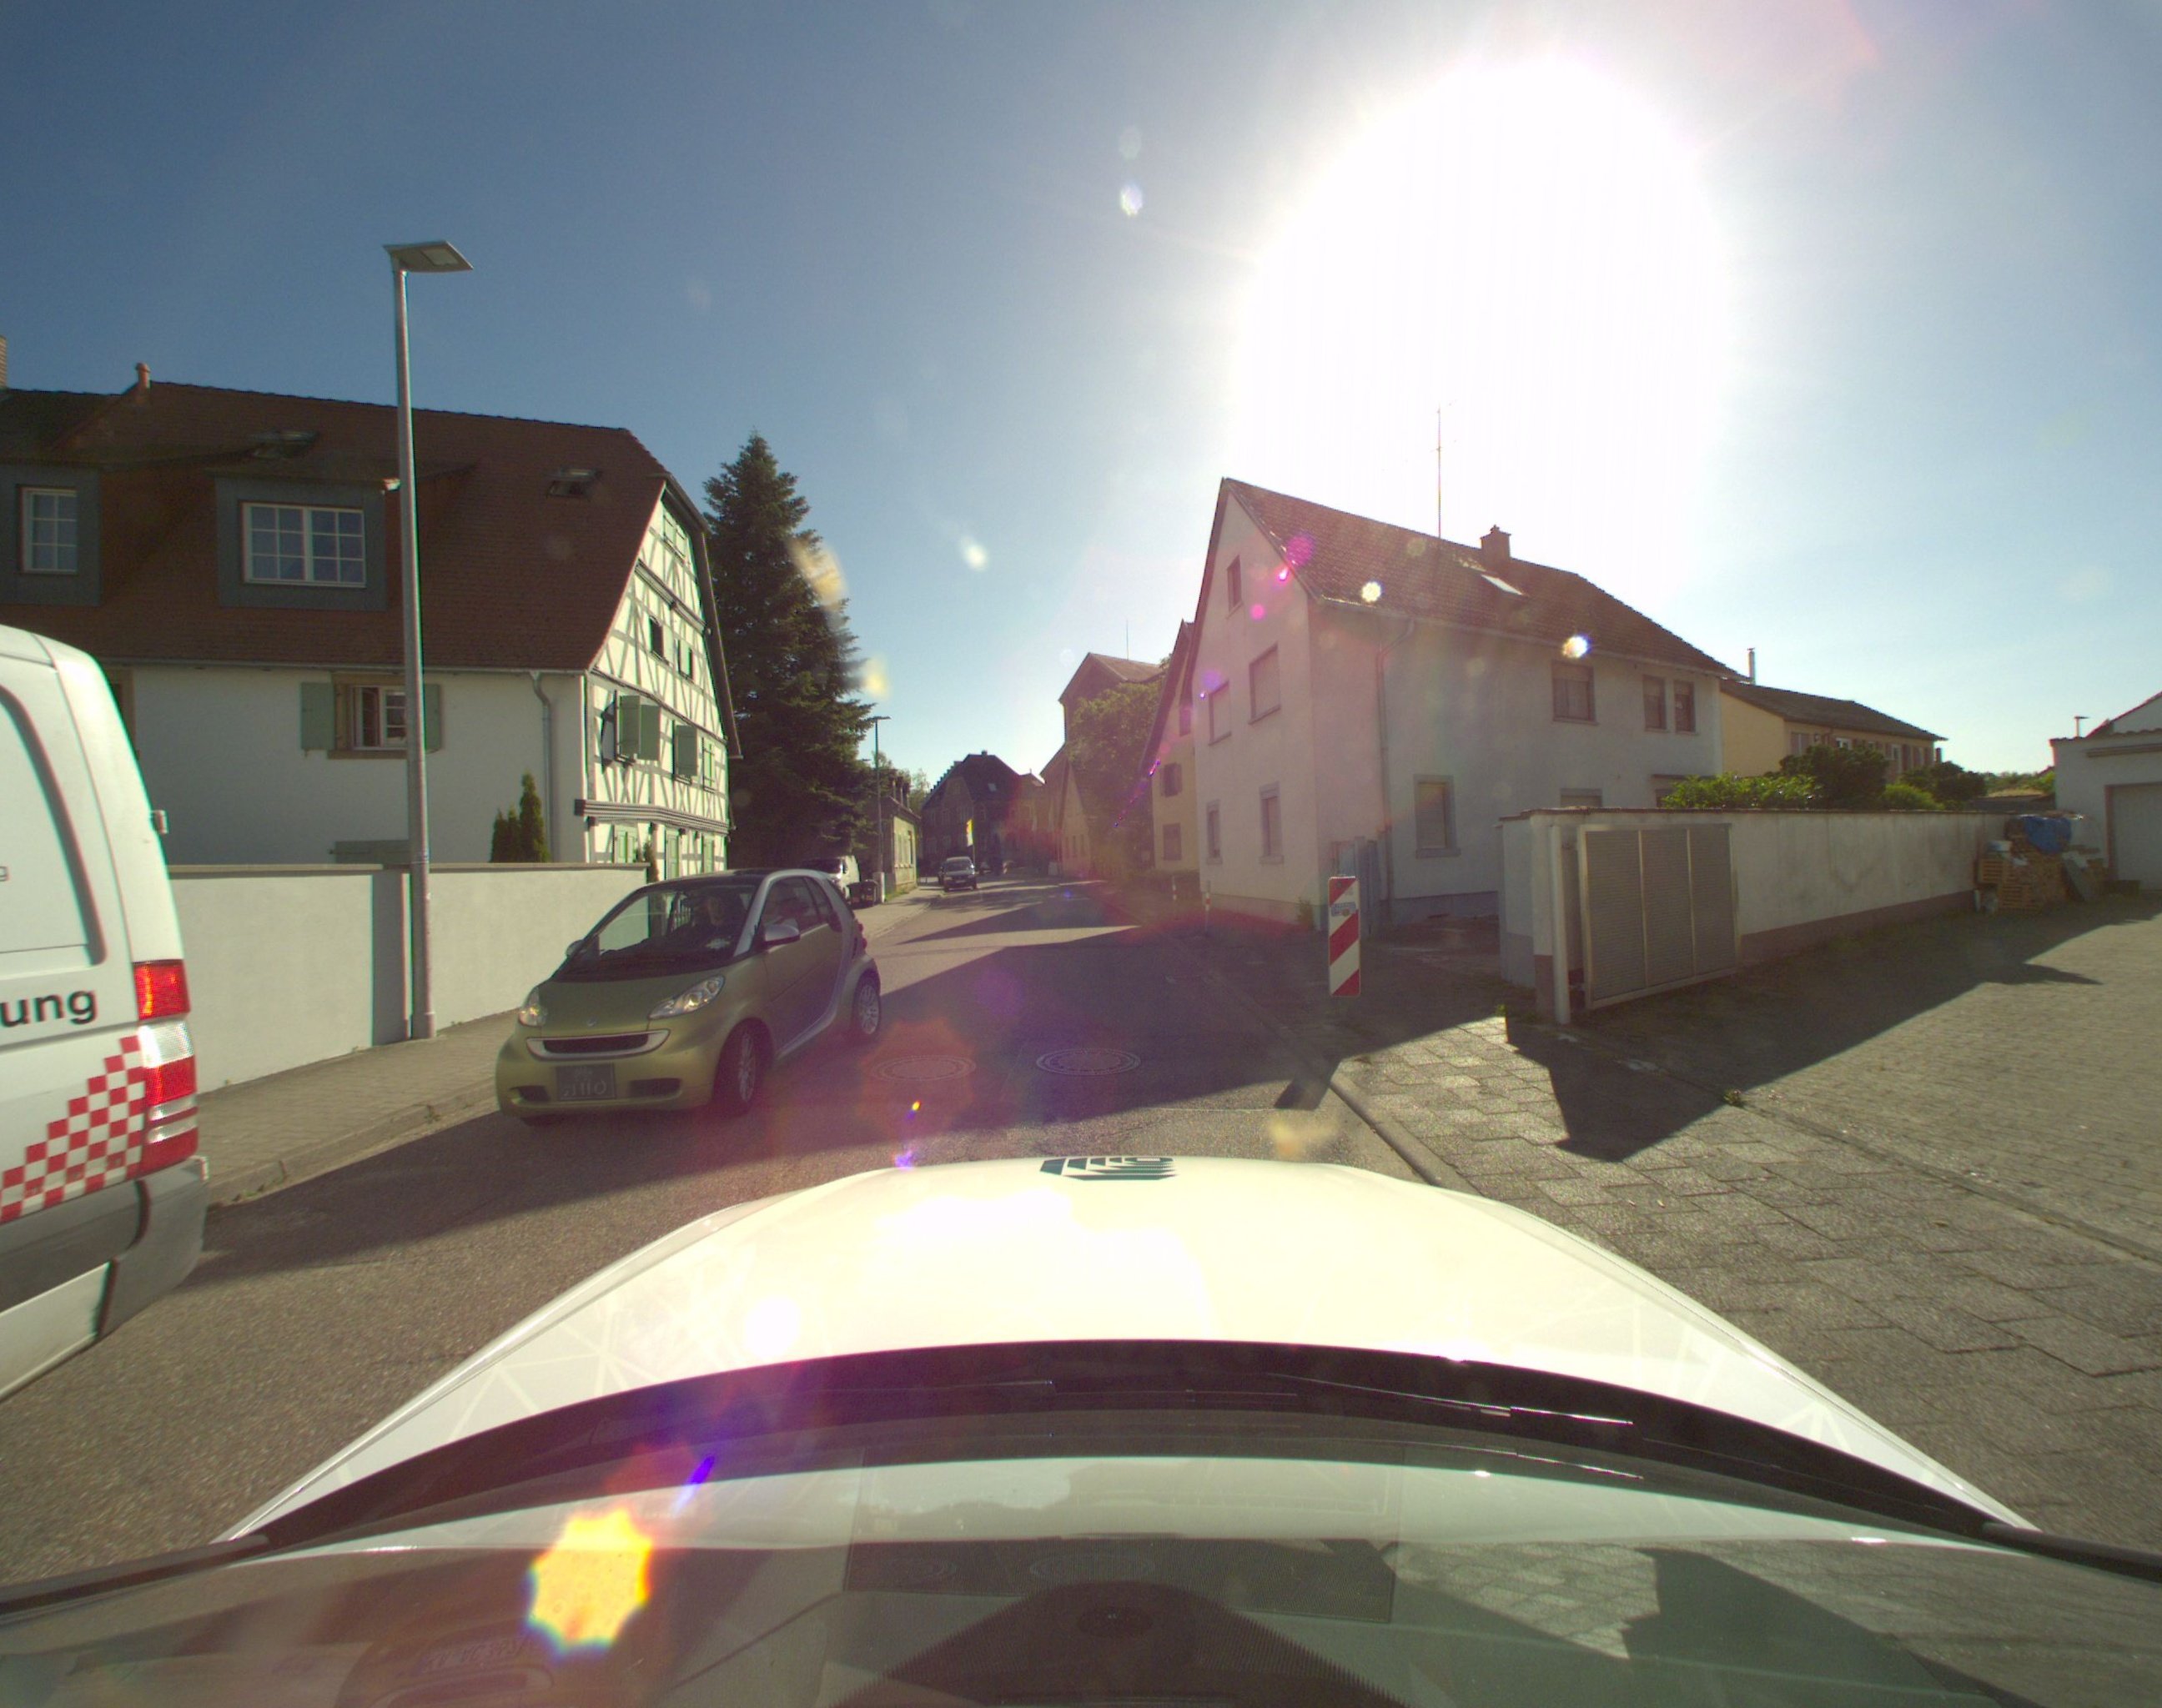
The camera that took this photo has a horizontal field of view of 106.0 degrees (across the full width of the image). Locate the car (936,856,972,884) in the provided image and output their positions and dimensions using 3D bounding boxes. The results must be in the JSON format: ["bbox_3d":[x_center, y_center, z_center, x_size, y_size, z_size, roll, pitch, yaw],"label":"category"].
[{"bbox_3d":[-8.949,1.098,56.962,1.830,1.732,4.177,-4,0,-17],"label":"car"}]

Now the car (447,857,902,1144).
[{"bbox_3d":[-2.684,0.860,6.139,1.565,1.546,2.972,-4,0,8],"label":"car"}]

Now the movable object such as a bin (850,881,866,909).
[{"bbox_3d":[-7.906,1.445,28.827,0.419,0.924,0.490,-3,2,-6],"label":"movable object such as a bin"}]

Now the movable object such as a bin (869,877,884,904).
[{"bbox_3d":[-7.571,1.354,30.140,0.419,0.924,0.490,-3,2,-6],"label":"movable object such as a bin"}]

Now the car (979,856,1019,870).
[{"bbox_3d":[-9.384,1.053,93.000,4.269,1.401,1.698,-2,-1,-39],"label":"car"}]

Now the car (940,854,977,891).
[{"bbox_3d":[-6.857,1.016,45.562,1.825,1.814,4.188,-4,0,-9],"label":"car"}]

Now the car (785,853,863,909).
[{"bbox_3d":[-9.944,0.972,31.860,1.938,1.955,5.129,-2,0,-7],"label":"car"}]

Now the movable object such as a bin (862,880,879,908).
[{"bbox_3d":[-7.463,1.408,28.871,0.439,0.924,0.490,-3,2,-6],"label":"movable object such as a bin"}]
